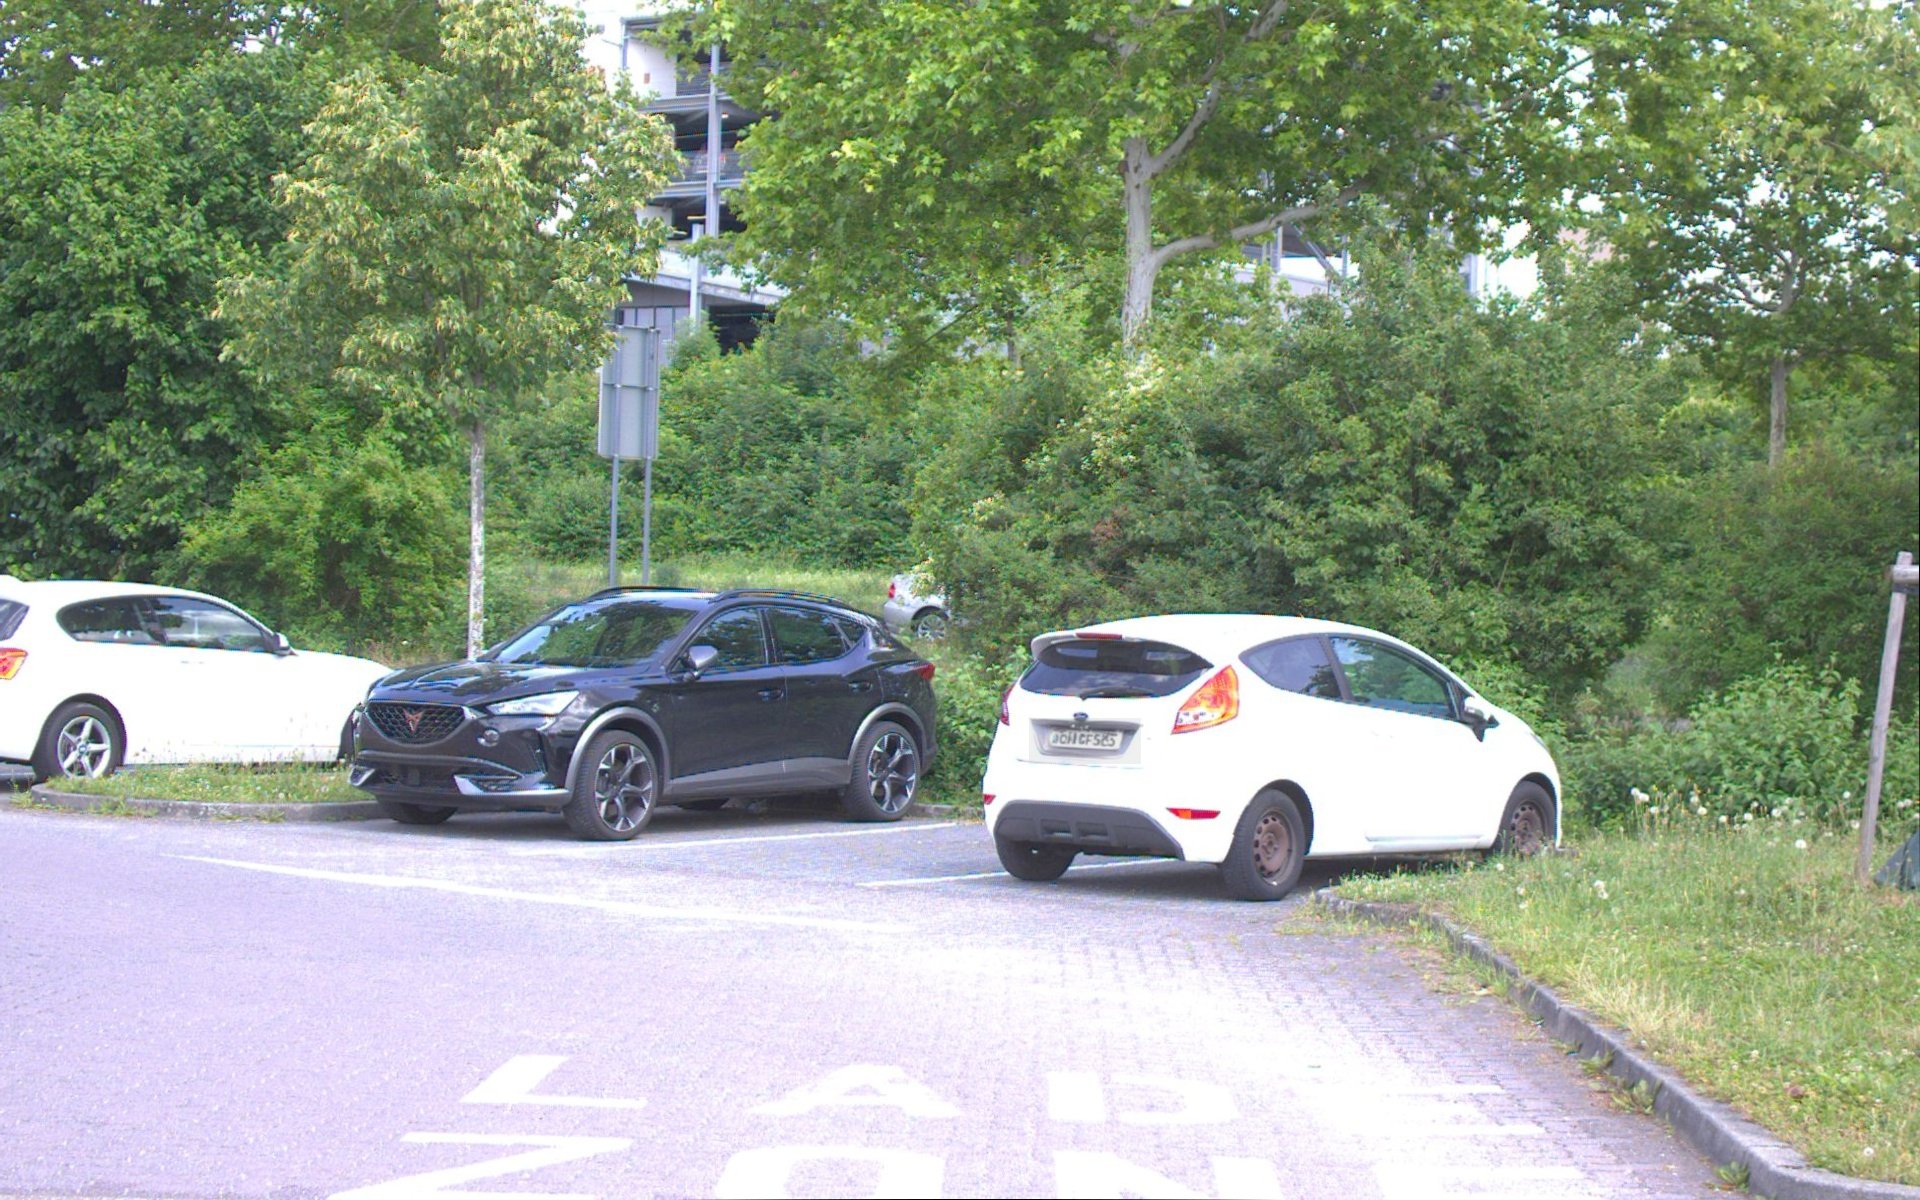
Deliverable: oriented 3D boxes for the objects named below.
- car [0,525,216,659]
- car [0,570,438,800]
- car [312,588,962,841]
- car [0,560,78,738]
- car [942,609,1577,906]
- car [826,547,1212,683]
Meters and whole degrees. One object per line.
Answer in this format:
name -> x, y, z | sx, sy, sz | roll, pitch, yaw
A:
car -> -14.344, -0.139, 55.453 | 4.490, 2.007, 1.914 | 1, -2, 33
car -> -5.815, 0.554, 24.447 | 1.688, 1.504, 4.072 | 1, 0, 39
car -> -1.947, 0.664, 21.925 | 1.731, 1.405, 4.234 | 2, 1, 36
car -> -9.540, 0.375, 27.426 | 1.837, 1.446, 4.715 | 2, 1, 37
car -> 1.710, 0.787, 18.769 | 1.669, 1.407, 3.549 | 2, 1, 41
car -> 0.737, 0.171, 44.436 | 4.736, 1.584, 1.745 | 2, 1, 32
